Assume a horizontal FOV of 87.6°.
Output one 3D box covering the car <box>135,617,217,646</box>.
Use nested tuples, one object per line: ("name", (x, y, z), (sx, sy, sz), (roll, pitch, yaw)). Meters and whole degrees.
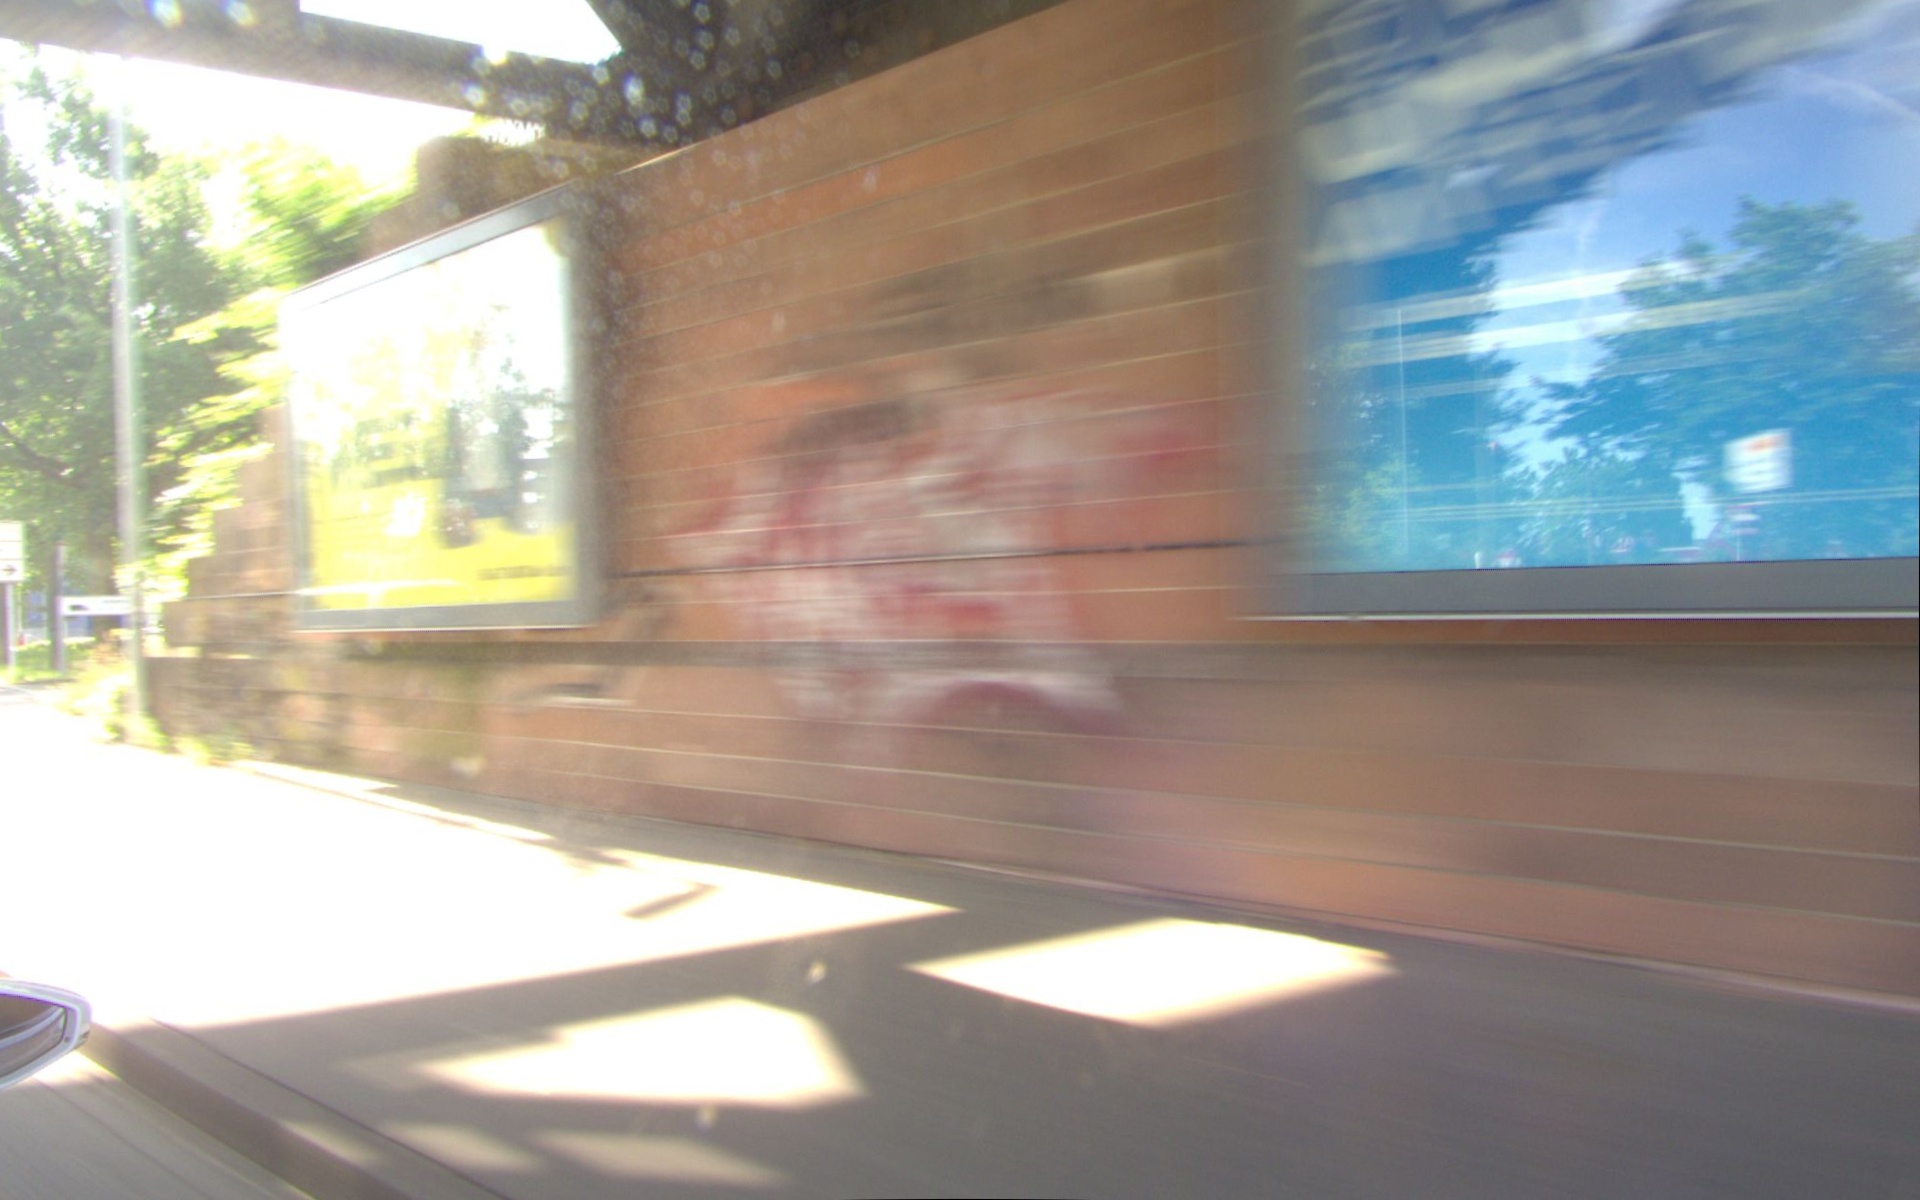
("car", (-44.802, 1.813, 57.240), (4.232, 1.660, 1.852), (-1, -2, 23))
